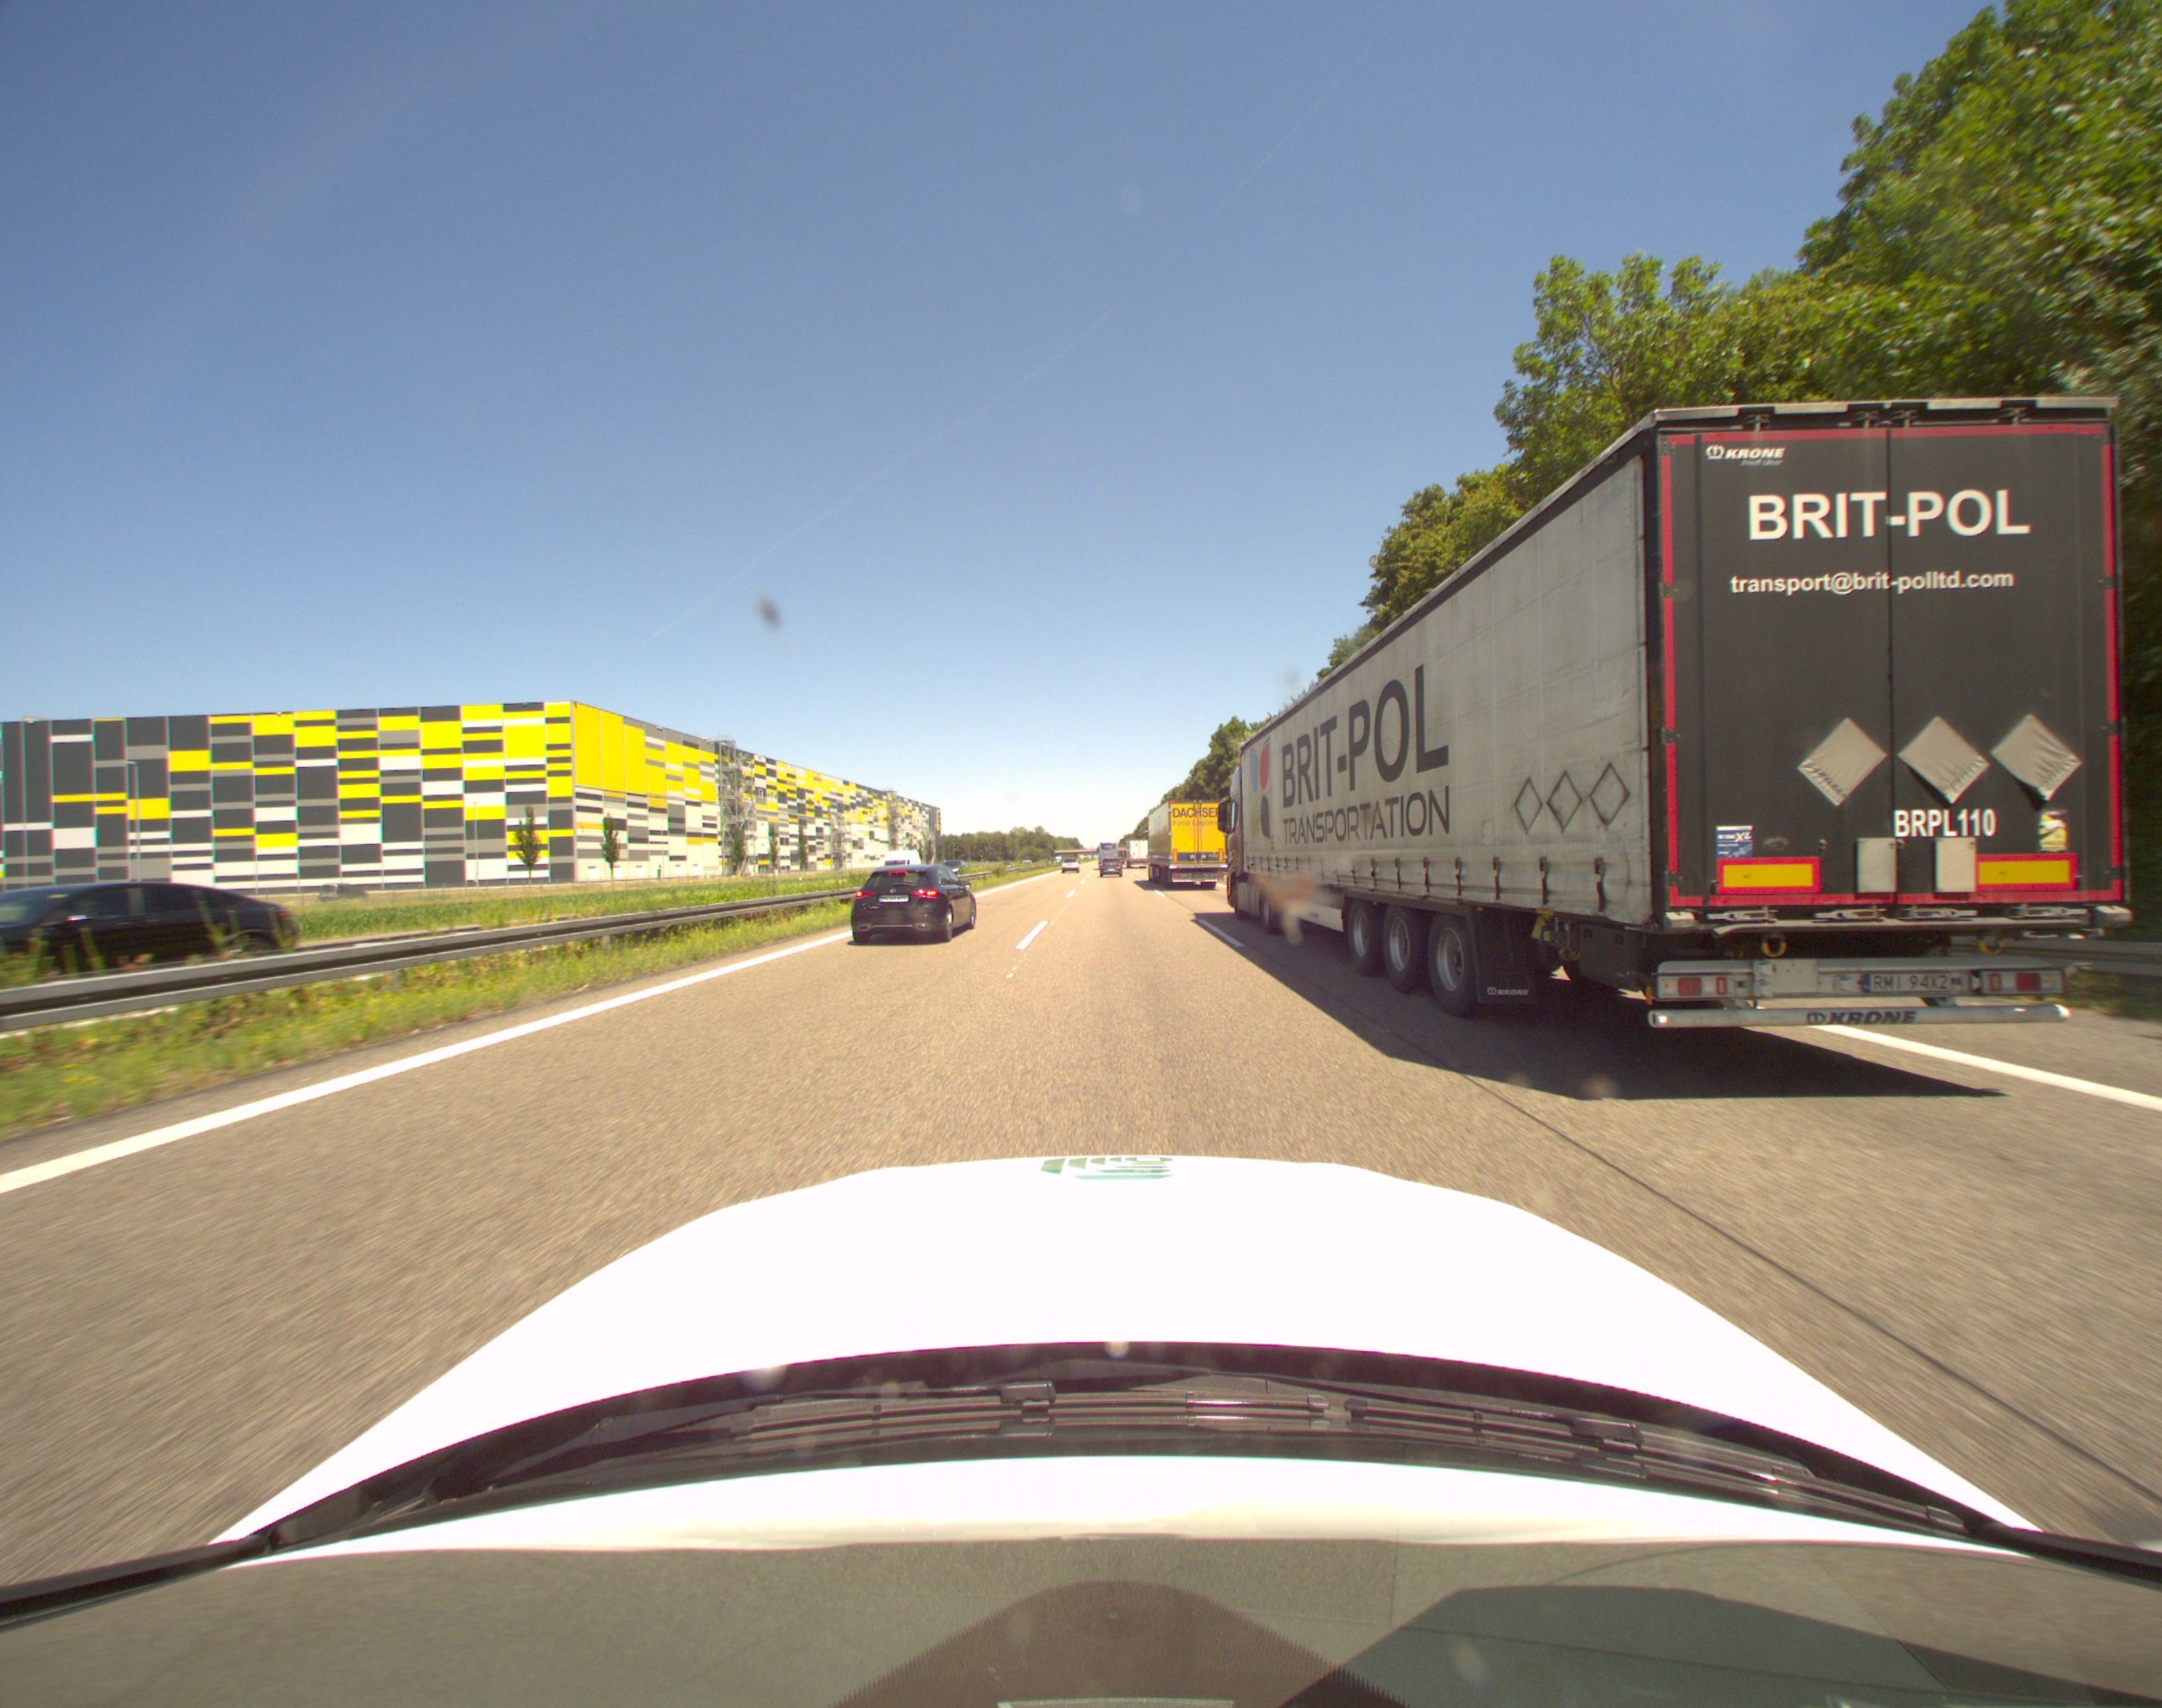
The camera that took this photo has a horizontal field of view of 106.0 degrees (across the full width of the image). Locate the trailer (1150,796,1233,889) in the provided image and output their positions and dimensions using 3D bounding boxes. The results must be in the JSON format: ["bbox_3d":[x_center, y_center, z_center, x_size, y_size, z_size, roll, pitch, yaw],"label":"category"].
[{"bbox_3d":[5.270,-0.488,41.203,2.824,3.954,11.686,-1,0,1],"label":"trailer"}]

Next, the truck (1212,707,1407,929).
[{"bbox_3d":[5.089,-0.697,19.472,3.076,4.441,6.055,-1,-1,1],"label":"truck"}]

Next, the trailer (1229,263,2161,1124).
[{"bbox_3d":[4.847,-0.801,11.734,3.094,4.507,14.901,-1,0,2],"label":"trailer"}]

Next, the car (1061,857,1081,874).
[{"bbox_3d":[-1.032,1.186,85.611,1.987,1.728,4.131,-1,0,1],"label":"car"}]

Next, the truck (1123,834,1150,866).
[{"bbox_3d":[7.744,-0.536,114.073,3.409,4.126,9.570,-3,0,2],"label":"truck"}]

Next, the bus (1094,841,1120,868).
[{"bbox_3d":[3.413,0.099,107.989,3.052,3.326,8.273,-2,0,0],"label":"bus"}]

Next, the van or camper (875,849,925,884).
[{"bbox_3d":[-14.513,0.960,65.632,2.413,2.534,6.176,-4,-1,1],"label":"van or camper"}]

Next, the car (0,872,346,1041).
[{"bbox_3d":[-12.795,1.204,10.534,2.020,1.778,4.844,-2,0,2],"label":"car"}]

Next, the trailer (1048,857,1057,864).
[{"bbox_3d":[-7.020,1.629,201.497,1.938,1.789,5.237,-3,0,0],"label":"trailer"}]

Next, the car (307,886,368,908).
[{"bbox_3d":[-67.468,3.863,73.994,1.679,1.727,4.112,-2,0,0],"label":"car"}]

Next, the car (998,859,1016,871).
[{"bbox_3d":[-12.902,1.897,142.145,2.307,1.815,5.353,-3,0,2],"label":"car"}]

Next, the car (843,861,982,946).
[{"bbox_3d":[-3.202,0.888,16.280,1.785,1.412,4.054,-2,0,1],"label":"car"}]

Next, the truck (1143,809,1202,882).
[{"bbox_3d":[5.389,-0.459,49.110,2.803,4.006,6.646,-2,0,1],"label":"truck"}]

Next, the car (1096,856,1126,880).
[{"bbox_3d":[2.362,1.100,65.191,2.208,1.790,5.394,-2,0,1],"label":"car"}]

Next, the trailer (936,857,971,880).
[{"bbox_3d":[-10.715,1.180,68.875,1.986,1.758,4.858,-2,0,1],"label":"trailer"}]
